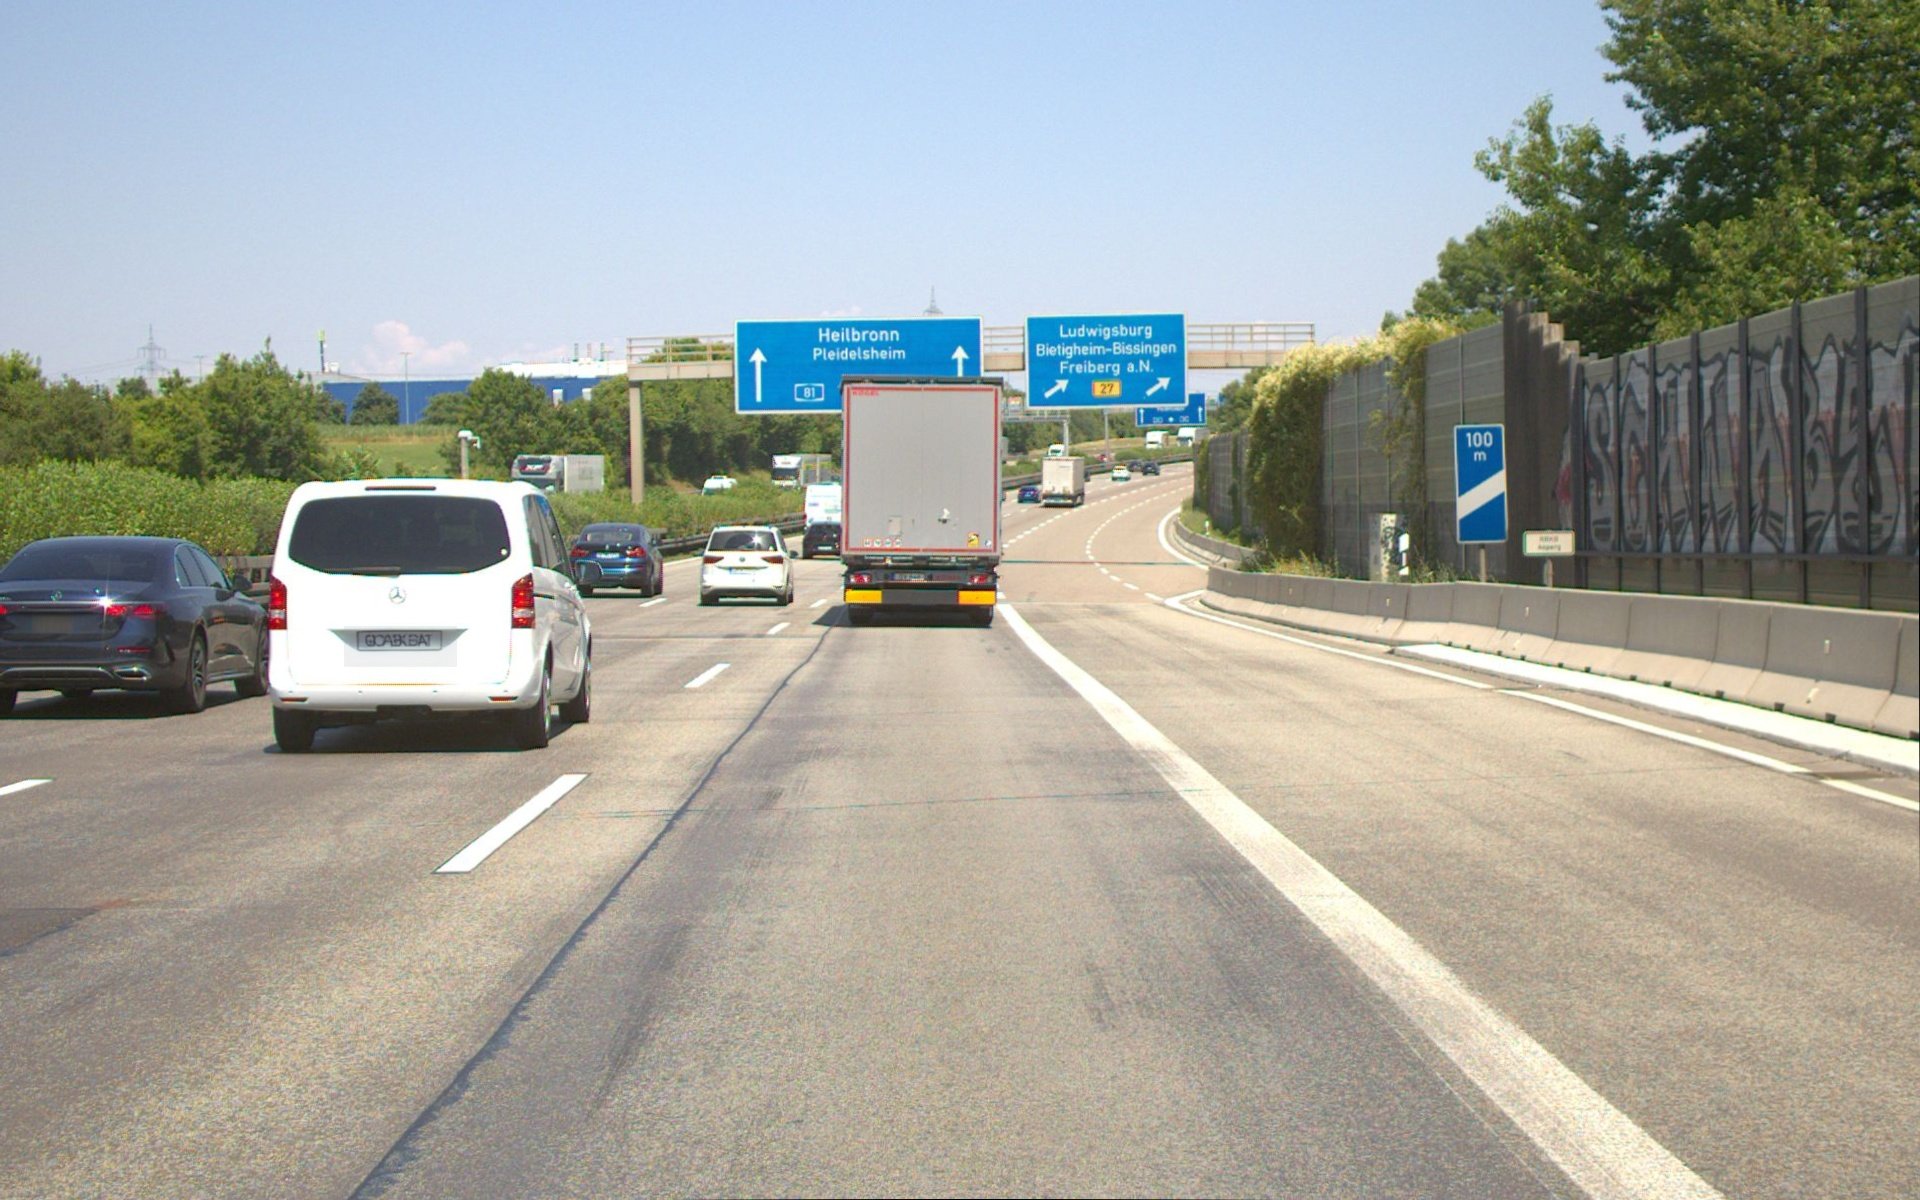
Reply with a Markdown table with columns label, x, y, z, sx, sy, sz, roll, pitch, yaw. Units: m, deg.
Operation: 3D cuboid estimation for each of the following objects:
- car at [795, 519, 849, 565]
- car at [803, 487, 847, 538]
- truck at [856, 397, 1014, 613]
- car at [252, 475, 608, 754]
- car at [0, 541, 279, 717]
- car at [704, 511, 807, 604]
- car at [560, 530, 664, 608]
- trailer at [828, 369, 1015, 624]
| label | x | y | z | sx | sy | sz | roll | pitch | yaw |
| --- | --- | --- | --- | --- | --- | --- | --- | --- | --- |
| car | -5.228 | -2.204 | 130.684 | 1.904 | 1.683 | 4.631 | 0 | 1 | -1 |
| car | -6.422 | -4.164 | 164.174 | 1.993 | 2.366 | 4.000 | 0 | 0 | -1 |
| truck | -0.427 | -1.830 | 67.690 | 2.928 | 4.001 | 7.583 | 0 | 1 | 1 |
| car | -3.754 | 0.057 | 25.148 | 1.930 | 1.845 | 4.693 | 0 | 1 | -1 |
| car | -7.280 | 0.190 | 29.940 | 1.756 | 1.404 | 5.040 | 0 | 1 | -1 |
| car | -4.176 | -0.879 | 70.758 | 1.904 | 1.845 | 4.631 | 0 | 1 | -1 |
| car | -7.739 | -0.708 | 76.726 | 1.904 | 1.683 | 4.631 | 0 | 1 | -1 |
| trailer | -0.538 | -1.726 | 60.099 | 2.928 | 4.001 | 12.039 | 0 | 1 | 1 |
